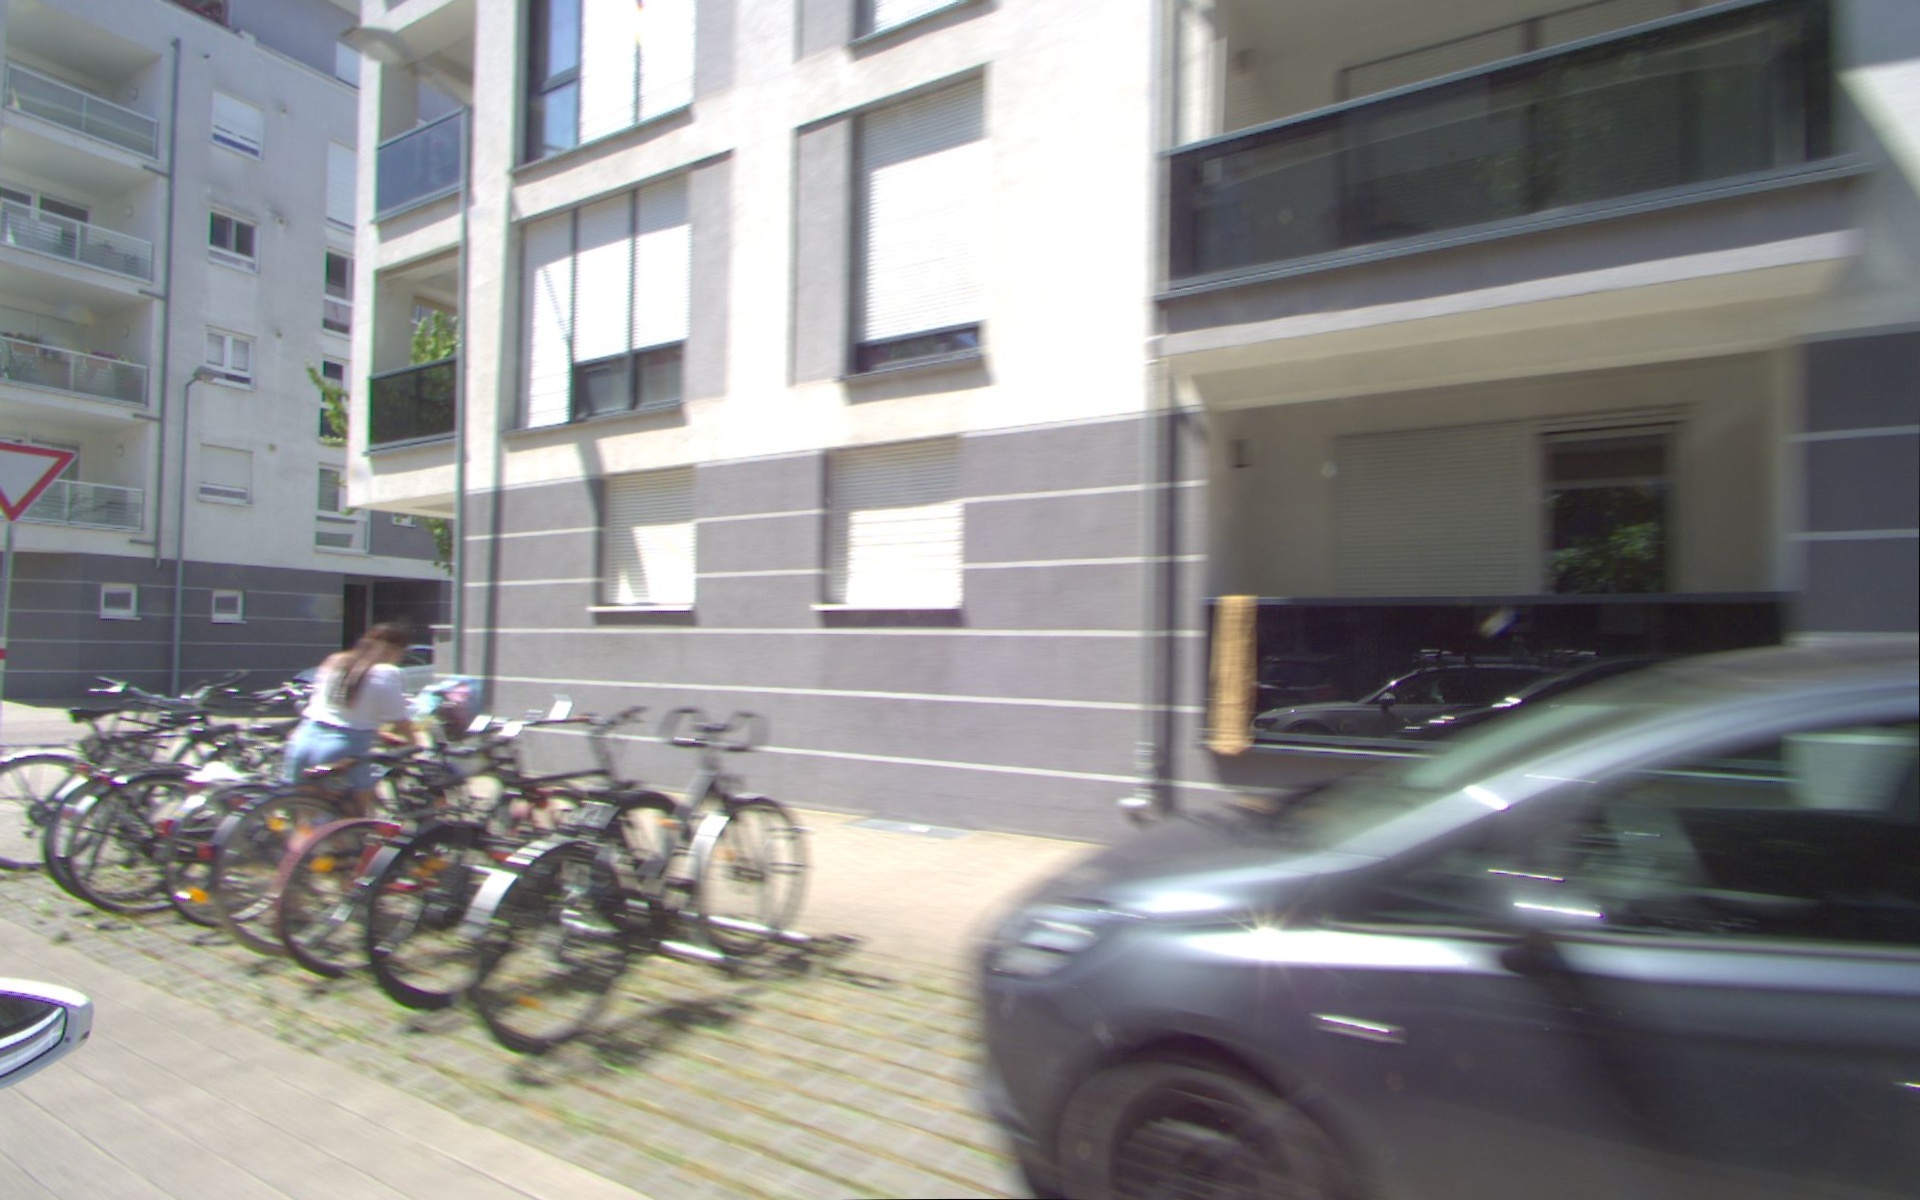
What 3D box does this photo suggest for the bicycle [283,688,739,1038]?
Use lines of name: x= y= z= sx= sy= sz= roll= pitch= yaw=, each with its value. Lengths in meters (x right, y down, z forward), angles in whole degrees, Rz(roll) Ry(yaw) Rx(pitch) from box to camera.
bicycle: x=-1.863 y=1.007 z=4.476 sx=0.735 sy=1.118 sz=1.786 roll=0 pitch=-2 yaw=28

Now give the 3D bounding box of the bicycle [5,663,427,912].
bicycle: x=-4.317 y=0.997 z=5.961 sx=0.631 sy=1.194 sz=1.915 roll=0 pitch=-2 yaw=40

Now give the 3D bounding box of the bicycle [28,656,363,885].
bicycle: x=-4.821 y=0.995 z=6.426 sx=0.697 sy=1.233 sz=1.549 roll=0 pitch=-2 yaw=30

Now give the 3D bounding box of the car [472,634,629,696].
car: x=-11.344 y=1.792 z=27.964 sx=1.702 sy=1.577 sz=3.787 roll=0 pitch=-3 yaw=31

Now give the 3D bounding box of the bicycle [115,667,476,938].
bicycle: x=-3.486 y=0.978 z=5.487 sx=0.452 sy=1.163 sz=1.839 roll=0 pitch=-2 yaw=12

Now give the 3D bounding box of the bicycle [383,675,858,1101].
bicycle: x=-1.232 y=0.967 z=4.099 sx=0.704 sy=1.233 sz=1.869 roll=0 pitch=-2 yaw=28

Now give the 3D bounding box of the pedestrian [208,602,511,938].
pedestrian: x=-3.094 y=0.797 z=5.265 sx=0.676 sy=1.534 sz=1.180 roll=0 pitch=-1 yaw=22

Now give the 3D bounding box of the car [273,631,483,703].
car: x=-13.823 y=1.575 z=24.018 sx=1.728 sy=1.489 sz=3.984 roll=3 pitch=-1 yaw=30

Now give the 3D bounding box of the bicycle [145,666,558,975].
bicycle: x=-2.991 y=0.990 z=5.194 sx=0.453 sy=1.233 sz=1.925 roll=0 pitch=-2 yaw=22

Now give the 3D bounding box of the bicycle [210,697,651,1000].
bicycle: x=-2.419 y=1.062 z=4.879 sx=0.550 sy=1.048 sz=1.923 roll=0 pitch=-2 yaw=28

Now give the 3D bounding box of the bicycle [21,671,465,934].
bicycle: x=-3.862 y=1.003 z=5.562 sx=0.602 sy=1.147 sz=1.915 roll=0 pitch=-2 yaw=40

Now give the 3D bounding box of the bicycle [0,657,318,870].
bicycle: x=-5.472 y=1.007 z=6.701 sx=0.678 sy=1.208 sz=1.855 roll=0 pitch=-2 yaw=34

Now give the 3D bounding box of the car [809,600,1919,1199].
car: x=1.836 y=0.782 z=2.229 sx=4.167 sy=1.504 sz=1.736 roll=0 pitch=-2 yaw=32
